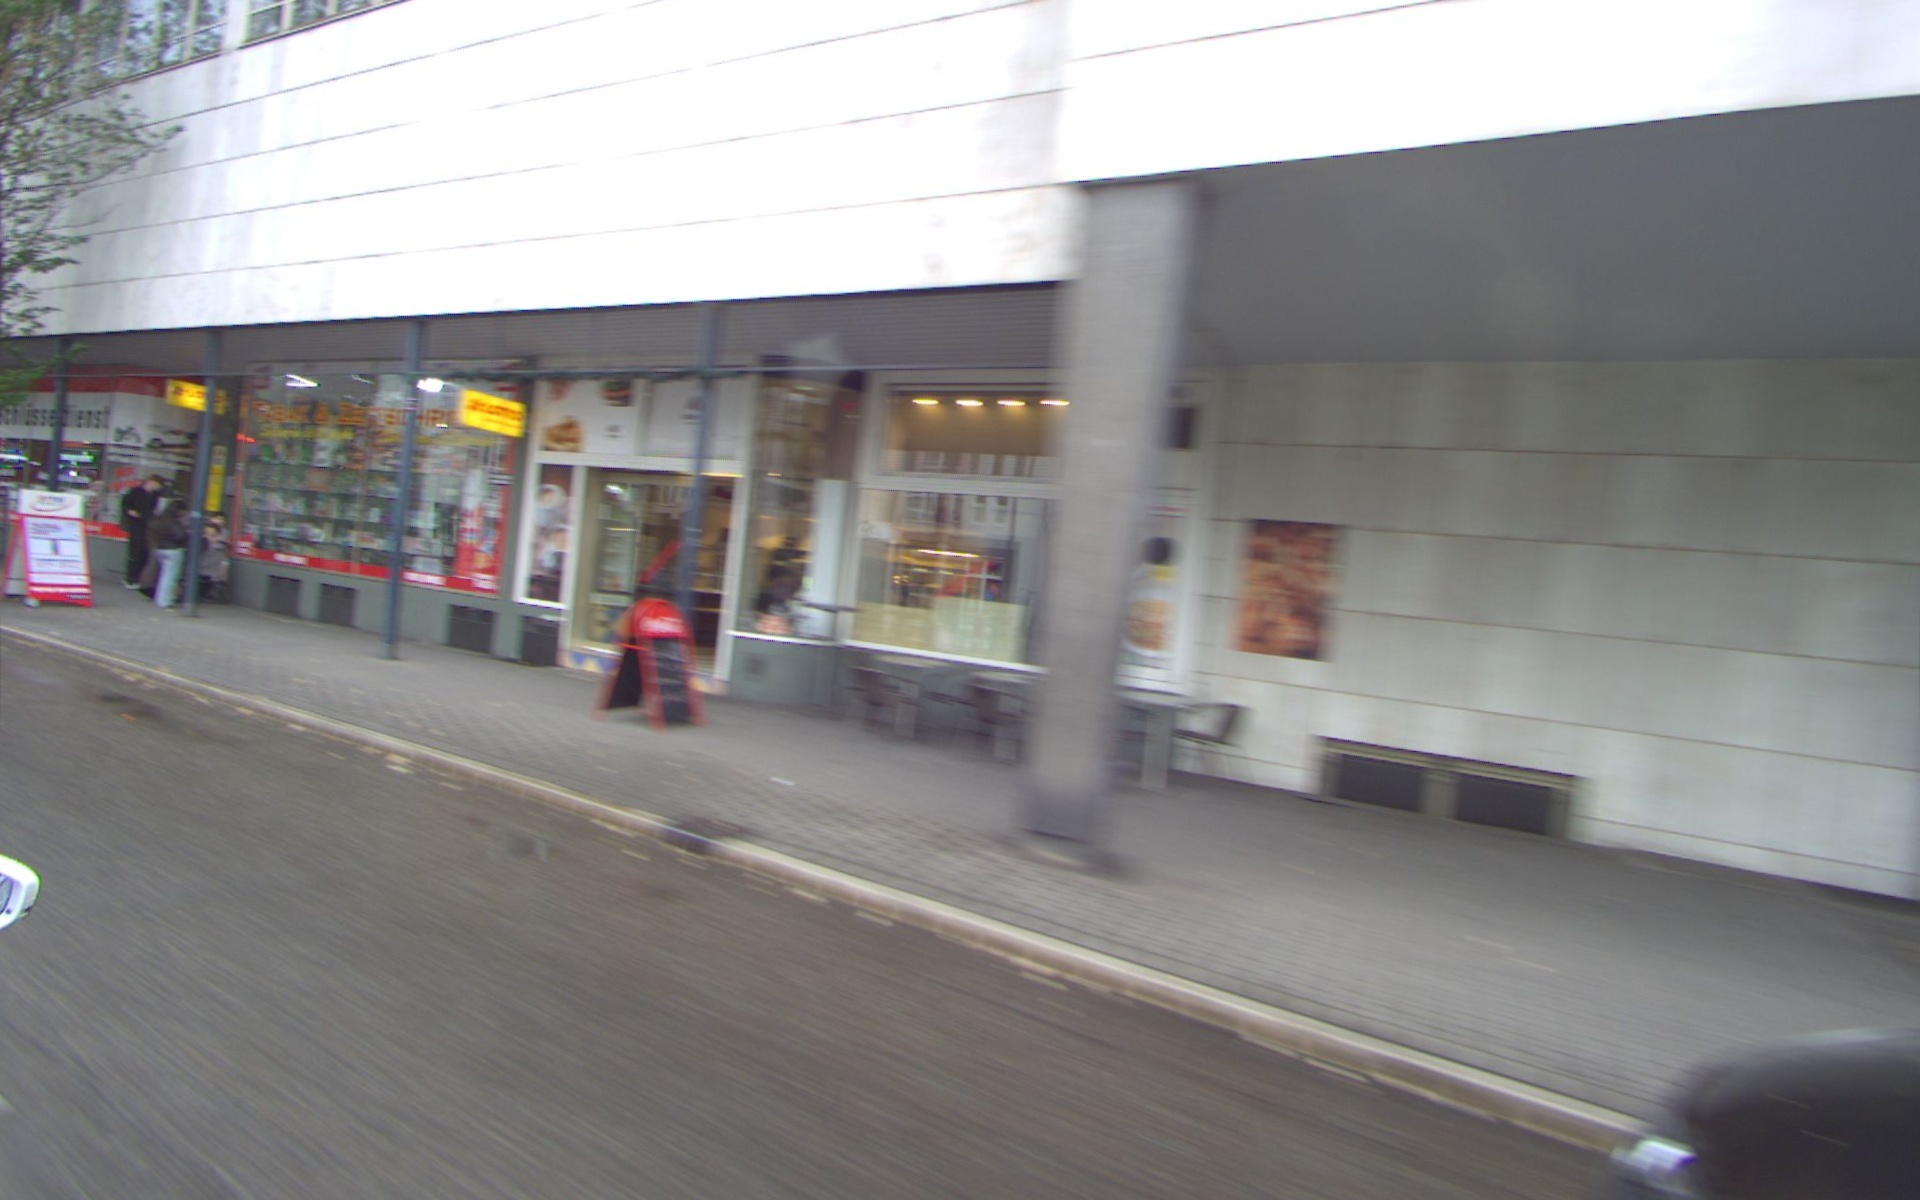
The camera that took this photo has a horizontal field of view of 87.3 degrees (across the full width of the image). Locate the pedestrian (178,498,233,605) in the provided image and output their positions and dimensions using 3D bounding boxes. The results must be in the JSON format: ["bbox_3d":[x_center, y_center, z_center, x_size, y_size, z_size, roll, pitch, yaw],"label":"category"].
[{"bbox_3d":[-11.699,-0.748,15.591,0.501,1.586,0.429,7,2,33],"label":"pedestrian"}]

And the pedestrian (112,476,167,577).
[{"bbox_3d":[-13.390,-1.189,16.434,0.424,1.586,0.508,6,2,-16],"label":"pedestrian"}]

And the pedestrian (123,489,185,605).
[{"bbox_3d":[-11.549,-0.753,14.421,0.424,1.586,0.508,6,2,-16],"label":"pedestrian"}]

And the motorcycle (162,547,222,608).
[{"bbox_3d":[-11.501,-0.338,15.059,0.904,0.814,0.324,8,2,28],"label":"motorcycle"}]

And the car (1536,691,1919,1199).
[{"bbox_3d":[2.743,1.098,0.994,3.680,1.474,1.711,6,-2,31],"label":"car"}]

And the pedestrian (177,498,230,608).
[{"bbox_3d":[-11.343,-0.703,15.084,0.423,1.586,0.387,7,2,26],"label":"pedestrian"}]

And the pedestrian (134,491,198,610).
[{"bbox_3d":[-11.045,-0.685,14.003,0.500,1.586,0.429,7,2,27],"label":"pedestrian"}]
